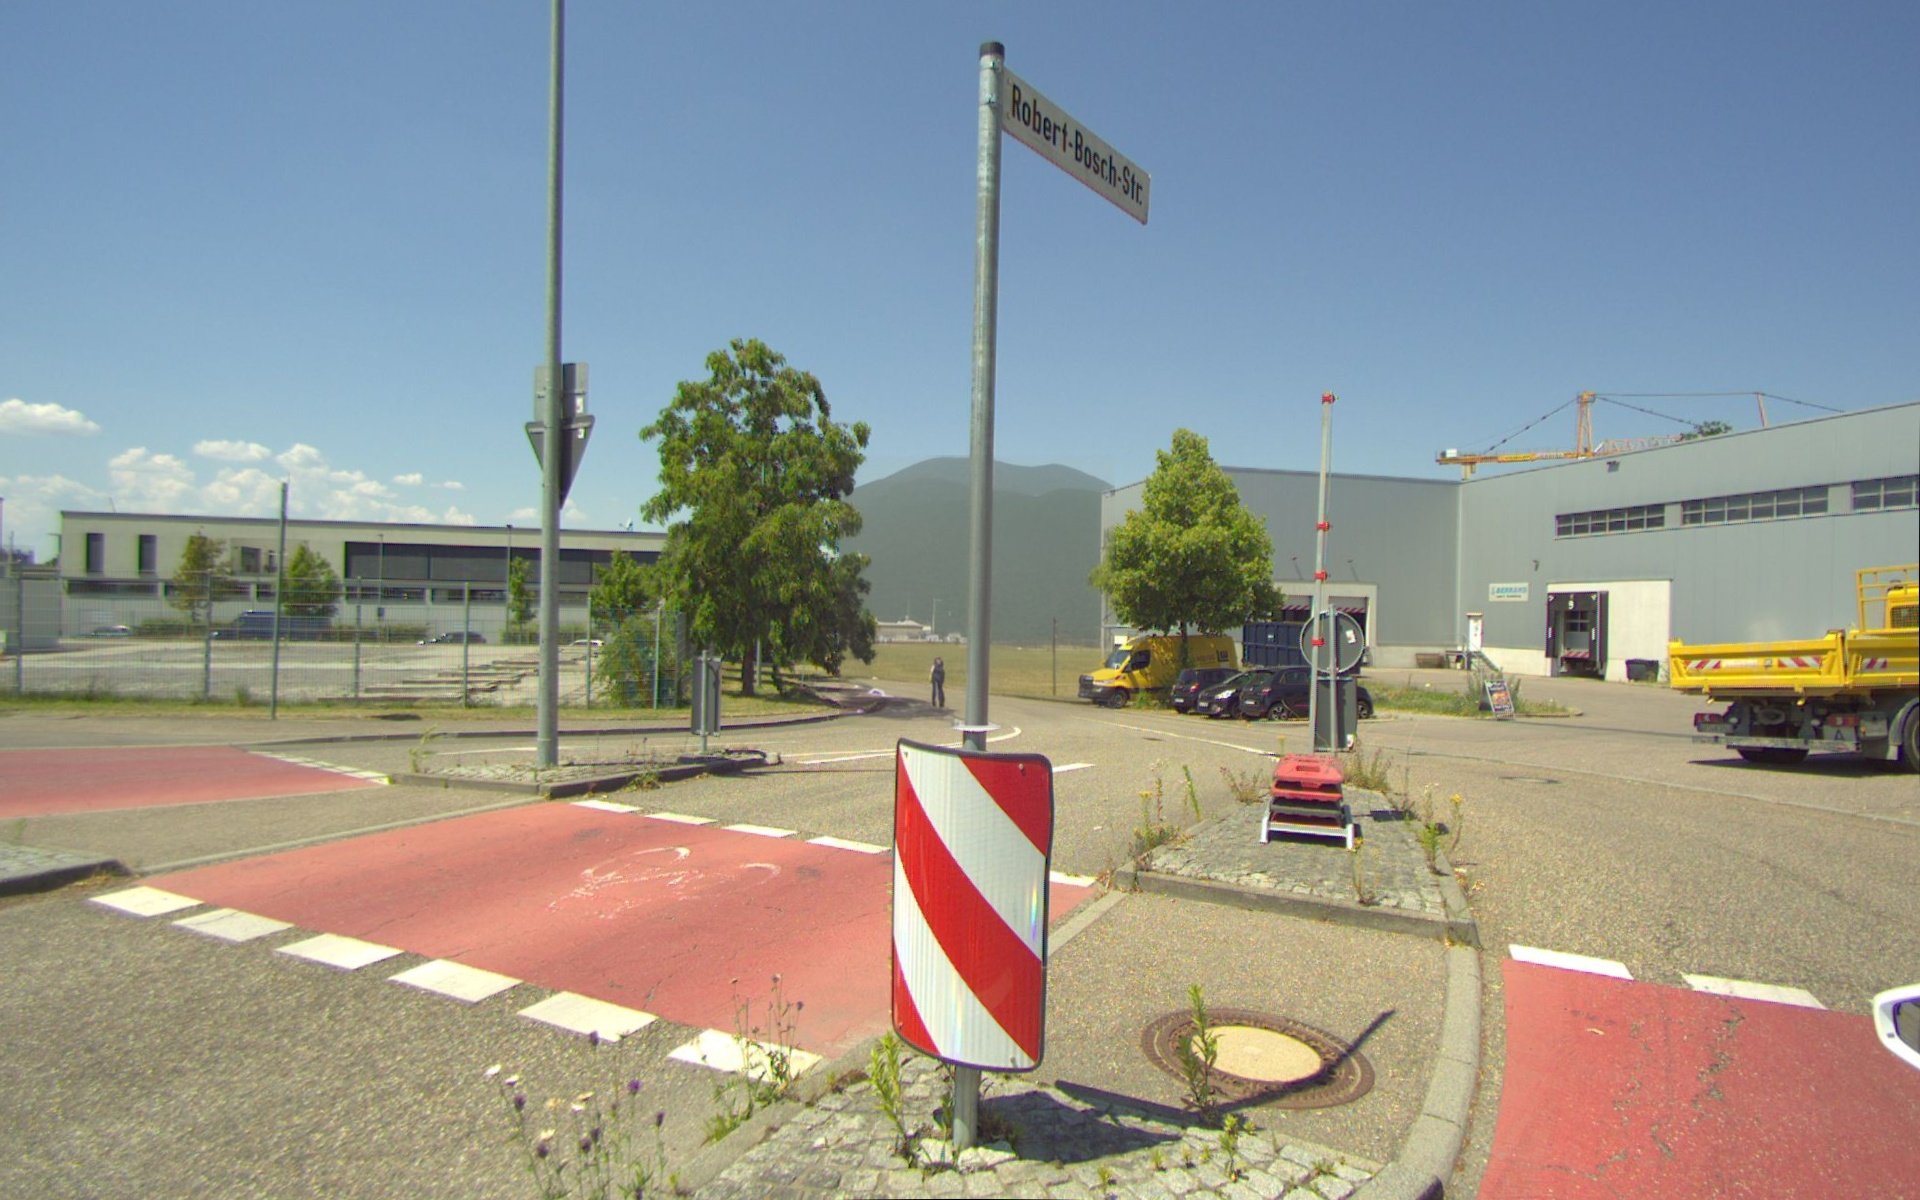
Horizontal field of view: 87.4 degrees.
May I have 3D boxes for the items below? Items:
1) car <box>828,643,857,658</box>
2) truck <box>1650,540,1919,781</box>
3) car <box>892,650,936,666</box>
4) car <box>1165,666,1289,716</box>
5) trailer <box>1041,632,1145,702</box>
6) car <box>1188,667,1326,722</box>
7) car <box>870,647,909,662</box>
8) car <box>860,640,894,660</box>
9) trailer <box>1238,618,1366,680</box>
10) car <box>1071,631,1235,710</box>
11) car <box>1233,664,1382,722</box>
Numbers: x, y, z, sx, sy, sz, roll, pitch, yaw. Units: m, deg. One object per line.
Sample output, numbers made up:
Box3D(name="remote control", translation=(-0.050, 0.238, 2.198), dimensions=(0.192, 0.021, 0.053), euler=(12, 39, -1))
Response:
Box3D(name="car", translation=(-17.111, 7.379, 146.502), dimensions=(3.885, 1.859, 1.758), euler=(3, 1, -20))
Box3D(name="truck", translation=(14.298, 0.855, 15.459), dimensions=(6.320, 3.177, 2.587), euler=(0, -3, -17))
Box3D(name="car", translation=(-4.061, 5.089, 88.335), dimensions=(3.631, 1.372, 1.640), euler=(0, -2, -17))
Box3D(name="car", translation=(8.653, 2.951, 32.648), dimensions=(3.553, 1.497, 1.624), euler=(2, -3, -14))
Box3D(name="trailer", translation=(5.796, 2.909, 44.642), dimensions=(2.621, 2.894, 5.503), euler=(0, -2, -16))
Box3D(name="car", translation=(8.875, 2.813, 30.068), dimensions=(3.719, 1.527, 1.586), euler=(2, -3, -15))
Box3D(name="car", translation=(-6.855, 5.279, 97.338), dimensions=(3.471, 1.372, 1.533), euler=(0, -2, -17))
Box3D(name="car", translation=(-9.517, 5.700, 115.058), dimensions=(3.670, 2.138, 1.810), euler=(3, -3, -13))
Box3D(name="trailer", translation=(16.691, 2.300, 49.638), dimensions=(2.620, 2.453, 7.399), euler=(3, 1, -10))
Box3D(name="car", translation=(7.139, 2.573, 37.226), dimensions=(5.700, 2.769, 1.995), euler=(1, -1, -14))
Box3D(name="car", translation=(9.619, 2.550, 27.908), dimensions=(3.608, 1.481, 1.624), euler=(0, -3, -13))
